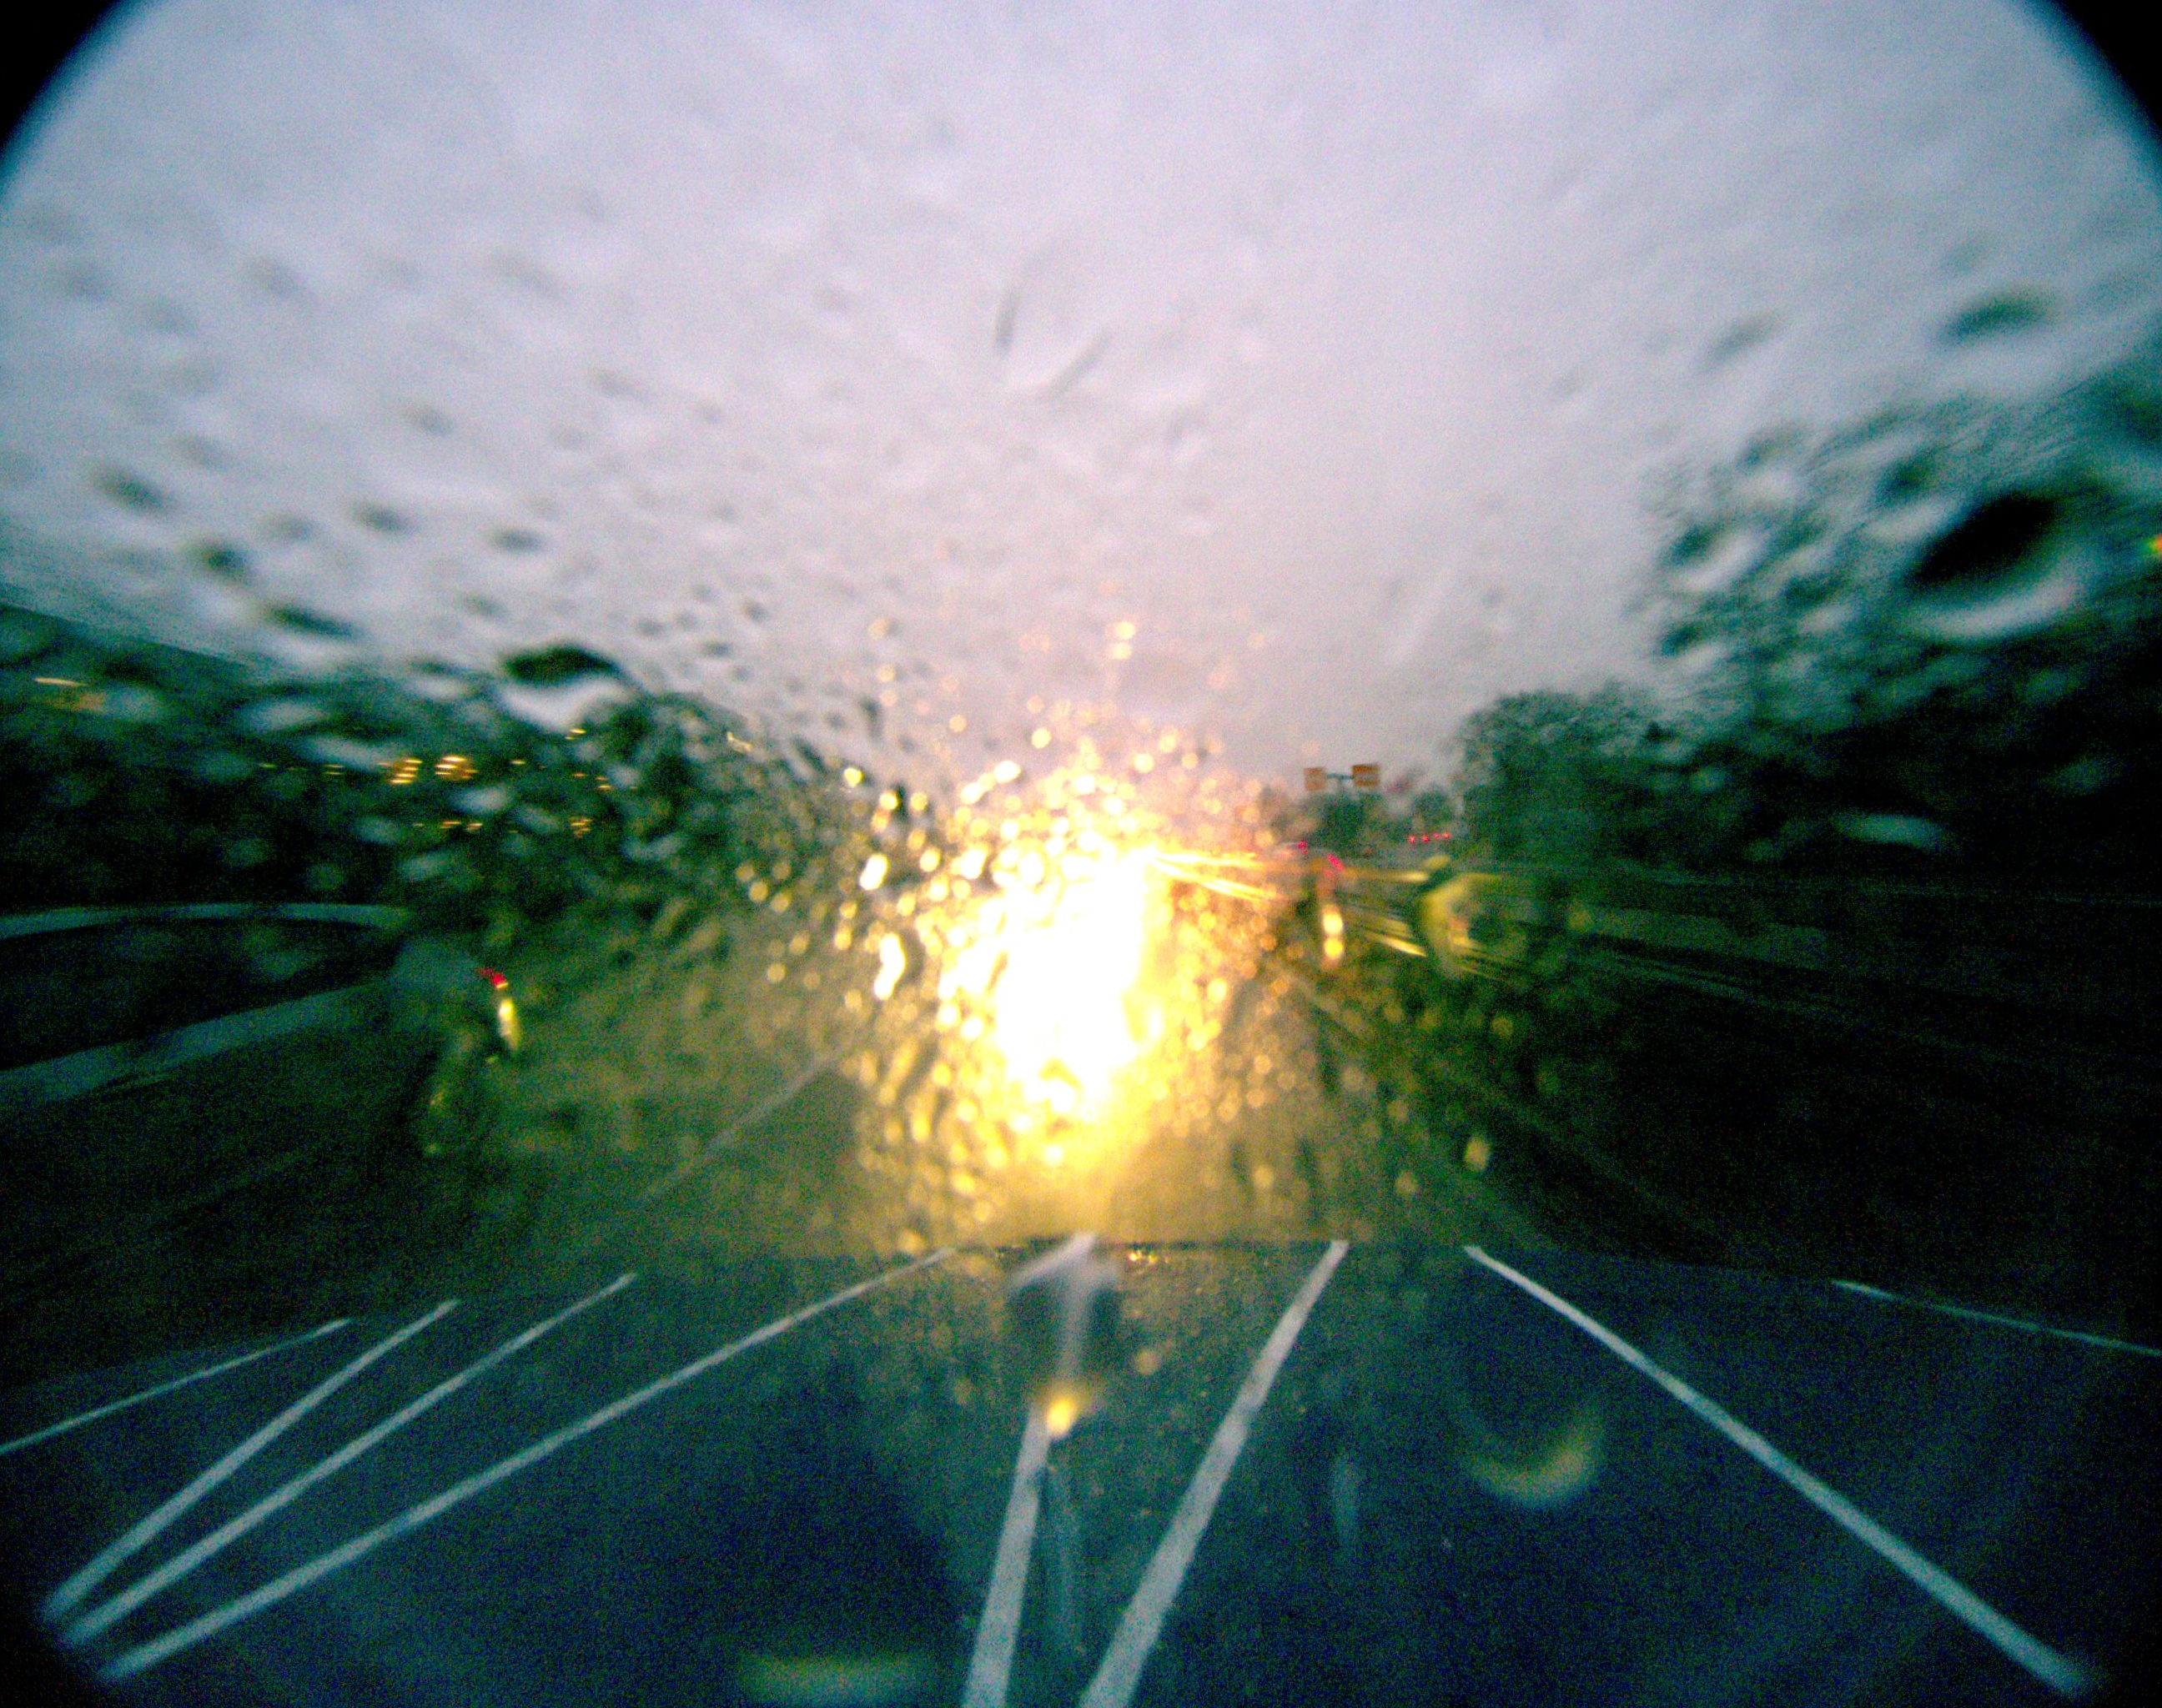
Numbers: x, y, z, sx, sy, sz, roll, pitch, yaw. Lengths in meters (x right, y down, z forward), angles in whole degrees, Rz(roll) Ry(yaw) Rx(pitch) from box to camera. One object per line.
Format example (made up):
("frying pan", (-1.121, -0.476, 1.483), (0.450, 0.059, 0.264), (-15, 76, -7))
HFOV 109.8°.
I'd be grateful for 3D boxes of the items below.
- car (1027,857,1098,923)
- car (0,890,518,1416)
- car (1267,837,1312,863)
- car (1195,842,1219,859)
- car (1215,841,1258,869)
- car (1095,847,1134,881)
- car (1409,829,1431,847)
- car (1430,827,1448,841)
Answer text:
("car", (-0.395, 0.861, 19.995), (1.595, 1.445, 4.176), (-3, 0, 1))
("car", (-4.280, 1.030, 2.281), (1.854, 1.493, 4.262), (-3, 1, 1))
("car", (13.829, -0.294, 50.630), (1.708, 1.557, 4.850), (-3, 1, 2))
("car", (11.718, -0.320, 70.896), (1.741, 1.486, 3.843), (-3, 1, 2))
("car", (8.928, 0.034, 44.011), (1.620, 1.475, 4.599), (-3, 1, 2))
("car", (1.750, 0.450, 38.761), (1.758, 1.521, 4.001), (-3, 1, 5))
("car", (38.741, -1.808, 86.723), (1.995, 1.902, 4.452), (-3, 1, 27))
("car", (52.943, -2.913, 112.403), (1.995, 1.902, 4.452), (-3, 1, 29))
